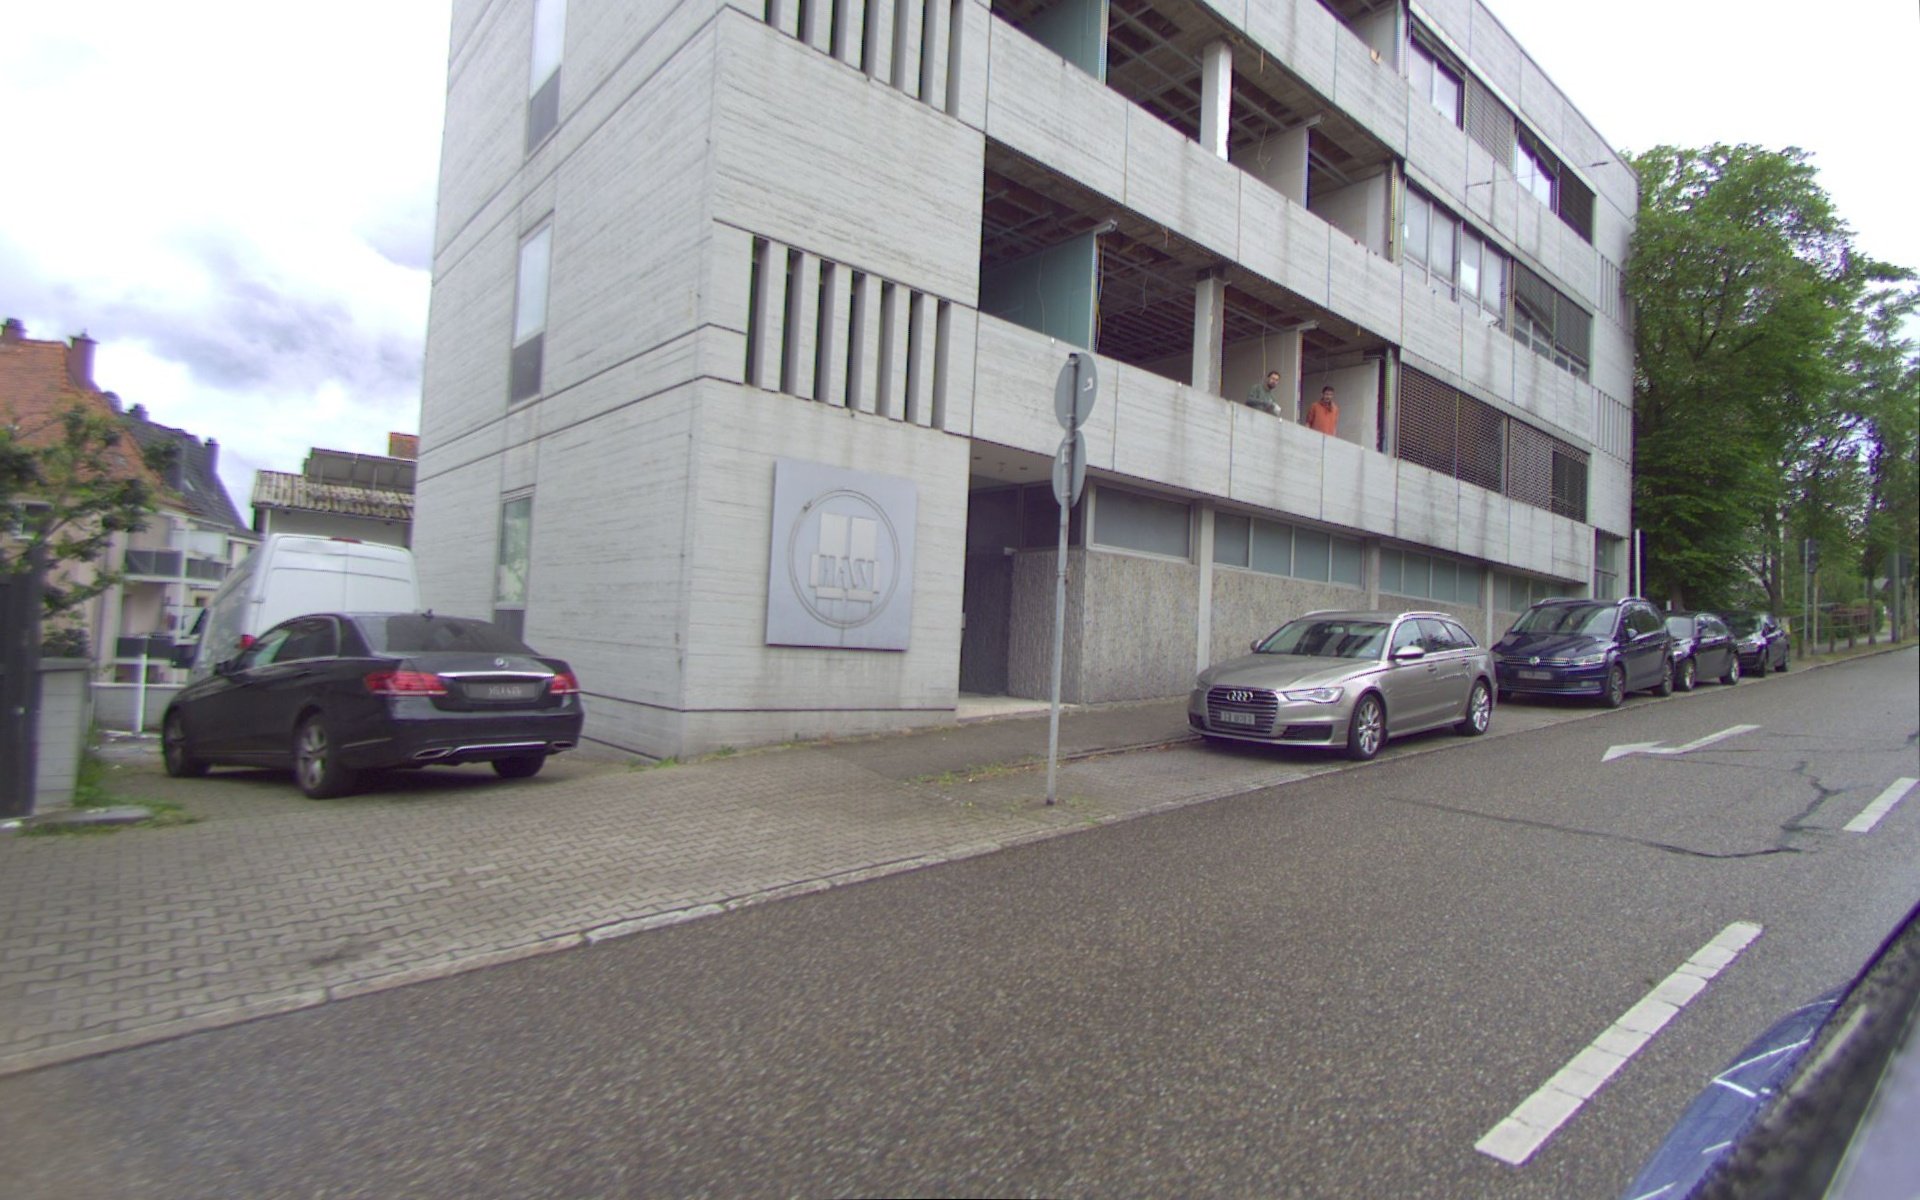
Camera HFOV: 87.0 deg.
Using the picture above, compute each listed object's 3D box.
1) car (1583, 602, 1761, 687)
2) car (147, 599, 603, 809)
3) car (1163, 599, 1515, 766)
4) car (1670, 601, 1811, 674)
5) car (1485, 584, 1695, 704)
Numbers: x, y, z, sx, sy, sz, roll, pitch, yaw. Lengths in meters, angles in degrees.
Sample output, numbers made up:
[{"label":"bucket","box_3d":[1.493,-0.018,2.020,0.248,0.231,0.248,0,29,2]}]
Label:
[{"label":"car","box_3d":[13.773,0.775,19.514,4.022,1.462,1.711,0,0,-38]},{"label":"car","box_3d":[-5.238,0.735,8.865,4.337,1.425,1.787,-1,-1,34]},{"label":"car","box_3d":[4.401,0.738,11.311,4.661,1.478,1.816,0,0,-43]},{"label":"car","box_3d":[17.880,0.783,23.123,4.084,1.462,1.841,0,1,-42]},{"label":"car","box_3d":[10.268,0.618,16.364,4.269,1.696,1.747,0,0,-41]}]
